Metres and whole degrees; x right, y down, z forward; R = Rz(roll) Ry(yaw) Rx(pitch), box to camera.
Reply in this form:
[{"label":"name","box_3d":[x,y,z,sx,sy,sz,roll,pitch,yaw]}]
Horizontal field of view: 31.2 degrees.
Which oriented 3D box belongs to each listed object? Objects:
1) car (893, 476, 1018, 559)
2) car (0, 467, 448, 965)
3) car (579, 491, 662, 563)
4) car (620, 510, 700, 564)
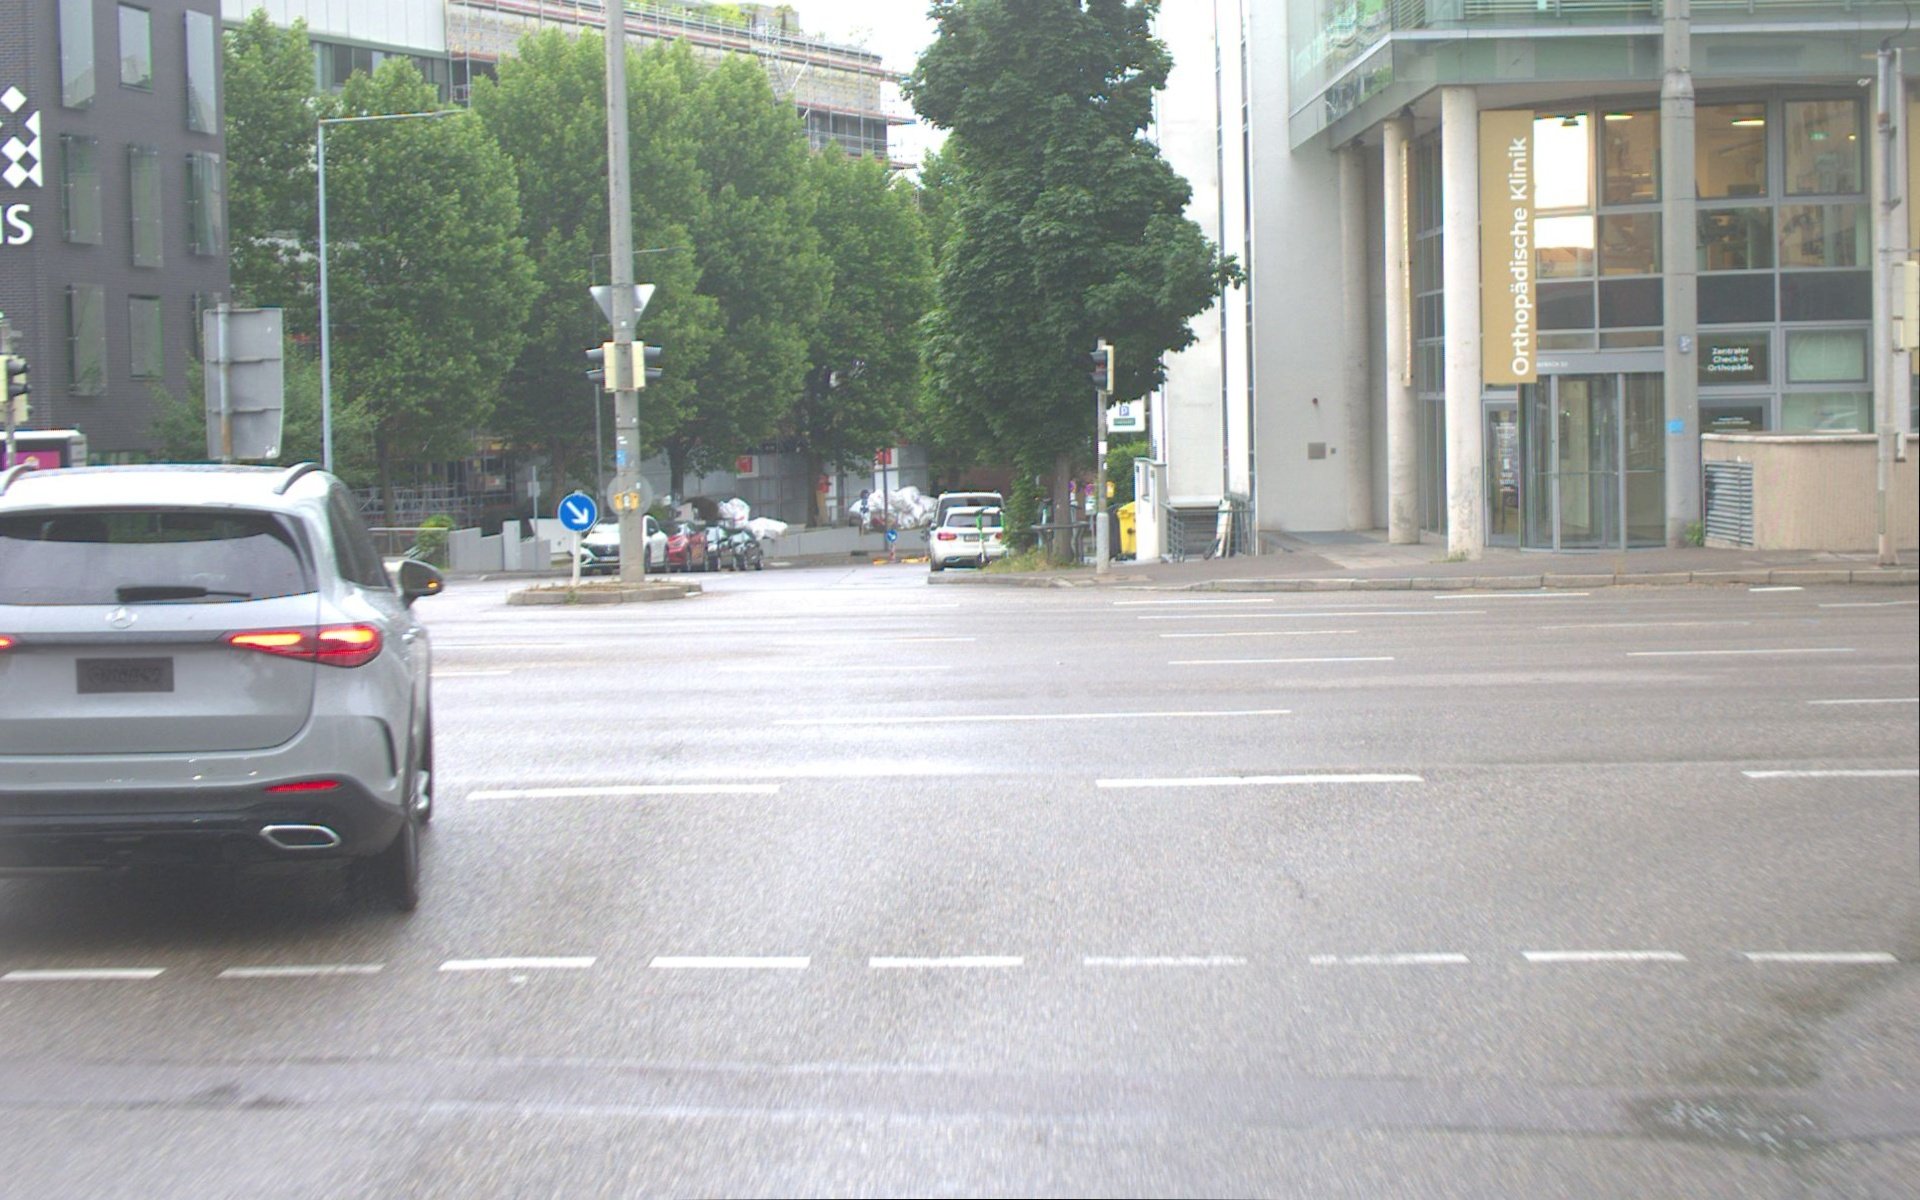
[{"label":"car","box_3d":[-0.124,-1.764,73.316,1.993,1.711,4.001,0,1,-10]},{"label":"car","box_3d":[-3.030,0.307,13.342,1.908,1.626,4.212,0,2,-7]},{"label":"car","box_3d":[-9.727,-2.105,98.661,1.993,2.007,4.000,1,1,-1]},{"label":"car","box_3d":[-9.055,-1.910,104.005,1.679,1.588,3.856,1,1,6]}]
